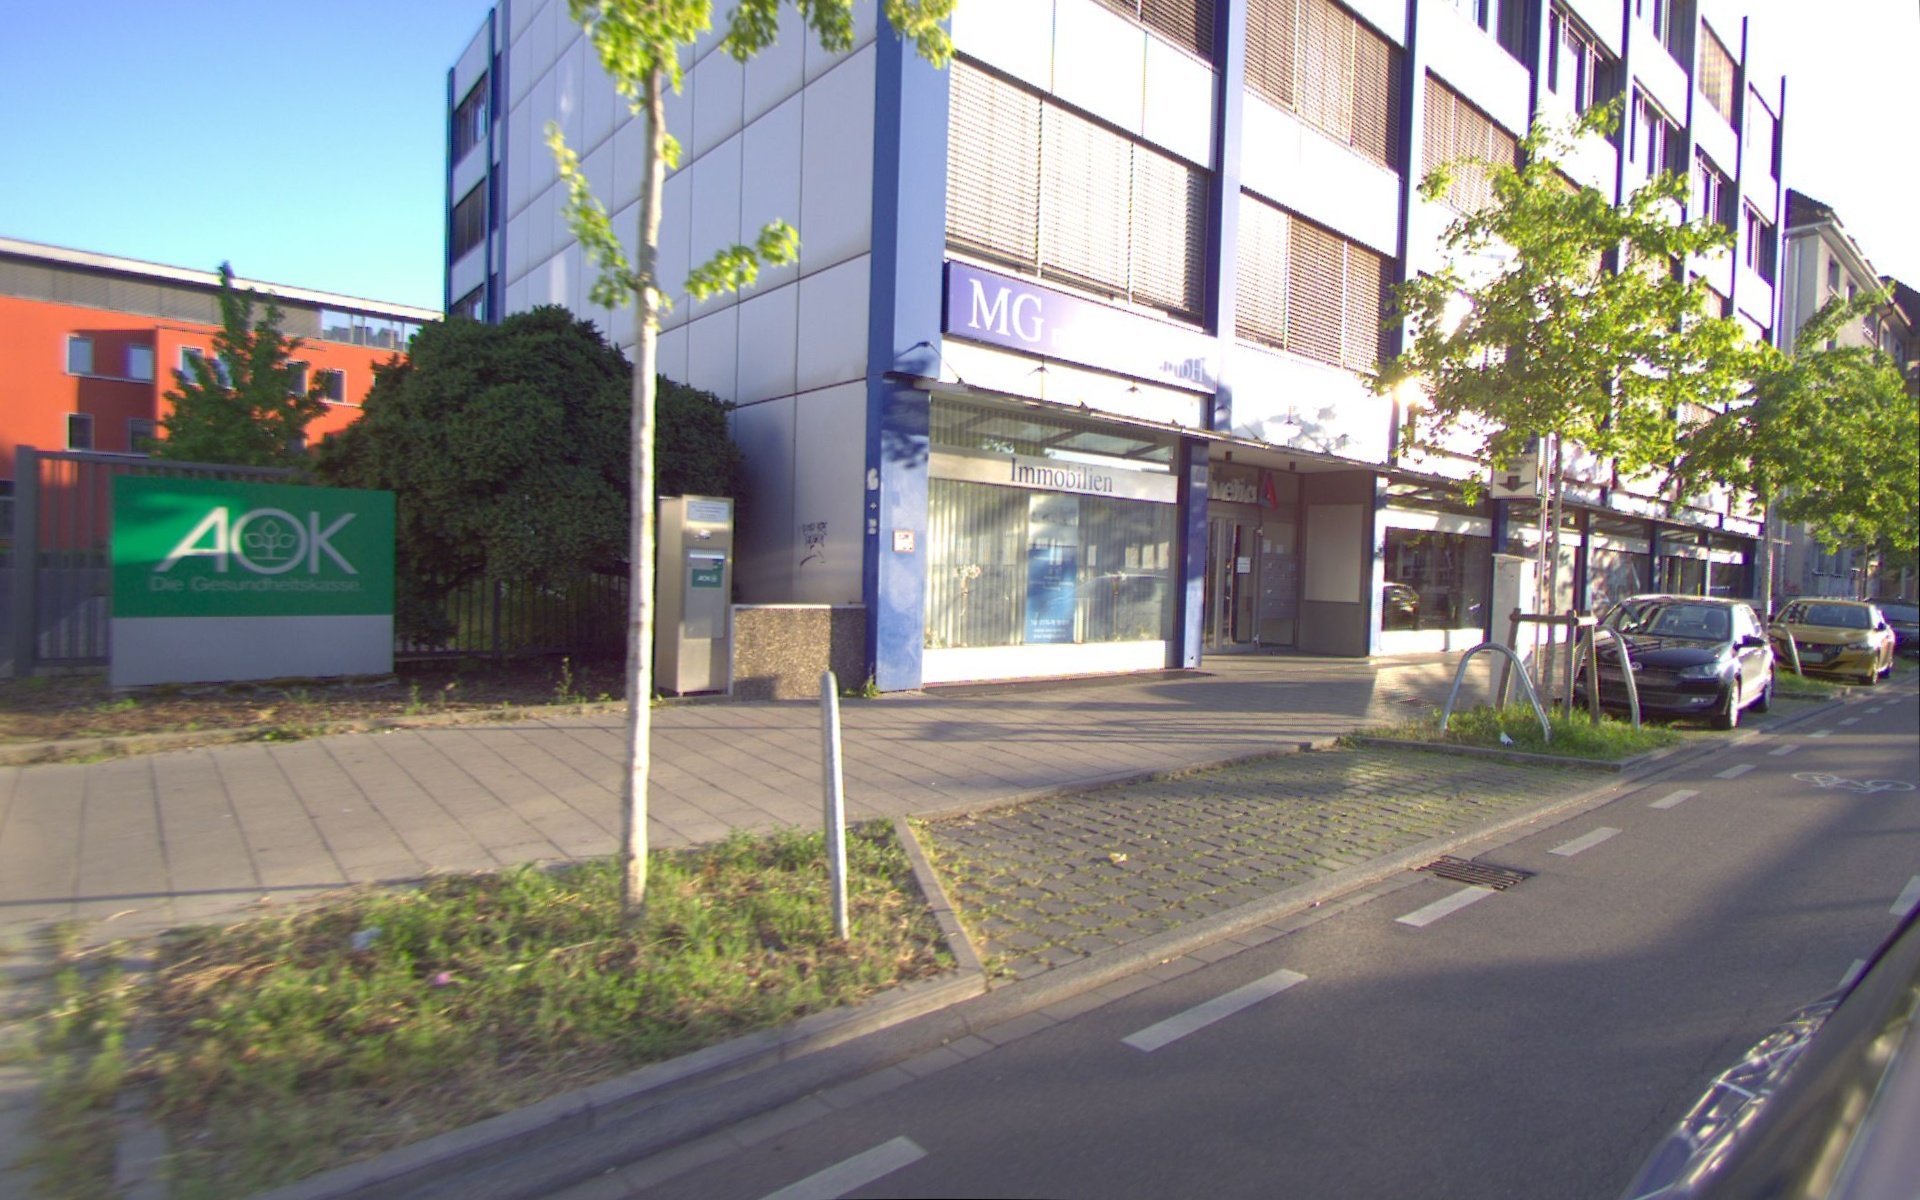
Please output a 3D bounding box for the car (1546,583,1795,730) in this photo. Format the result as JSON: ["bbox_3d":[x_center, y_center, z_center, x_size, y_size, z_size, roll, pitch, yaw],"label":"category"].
[{"bbox_3d":[9.002,0.566,12.686,4.061,1.472,1.821,-1,3,-45],"label":"car"}]

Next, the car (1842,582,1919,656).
[{"bbox_3d":[23.736,0.445,25.379,4.729,1.585,1.823,0,6,-43],"label":"car"}]

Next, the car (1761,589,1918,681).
[{"bbox_3d":[16.620,0.580,19.052,4.058,1.472,1.687,0,3,-42],"label":"car"}]
